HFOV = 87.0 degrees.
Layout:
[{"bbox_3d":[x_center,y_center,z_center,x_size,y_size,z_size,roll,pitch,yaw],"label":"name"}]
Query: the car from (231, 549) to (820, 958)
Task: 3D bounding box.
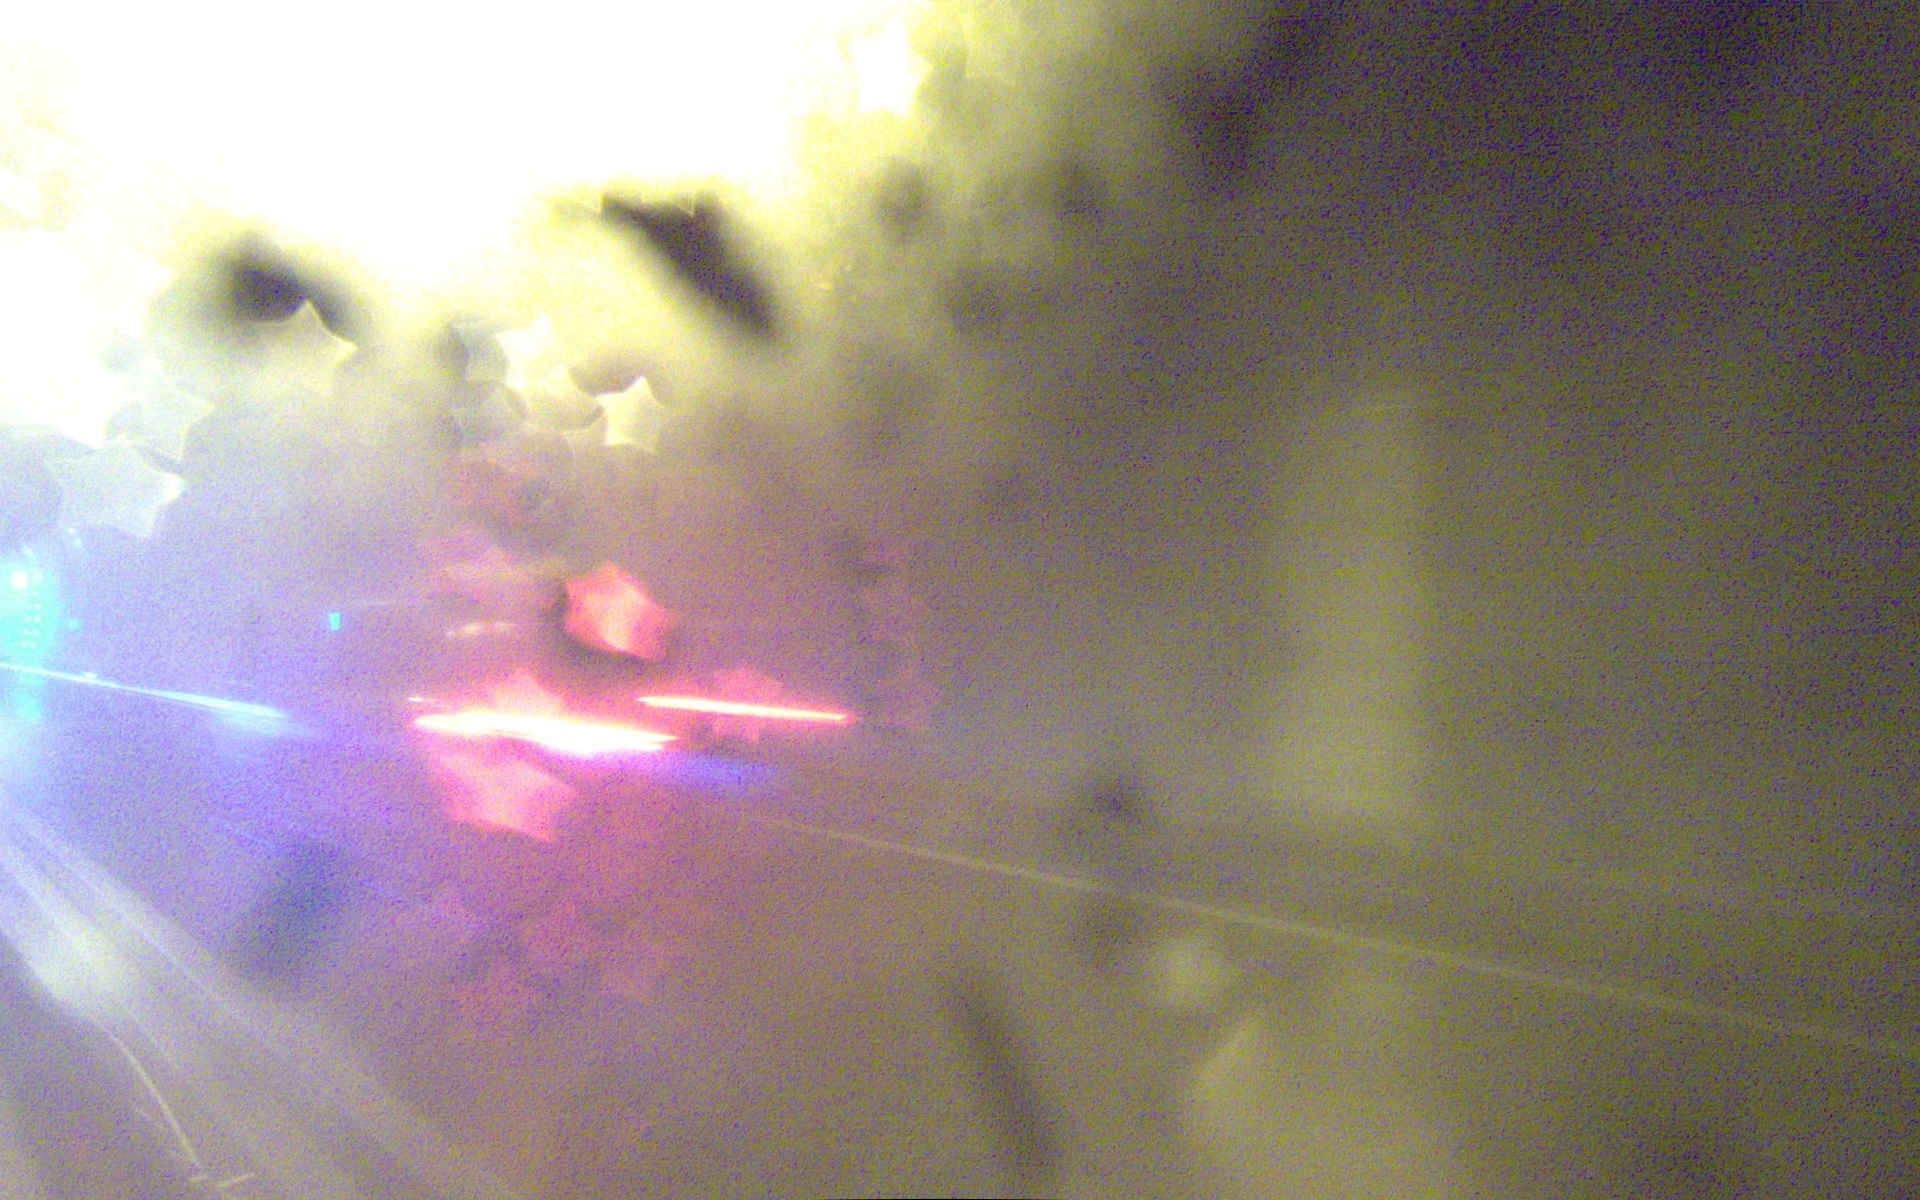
[{"bbox_3d":[-2.754,0.613,5.934,3.994,1.625,1.582,-1,1,41],"label":"car"}]
